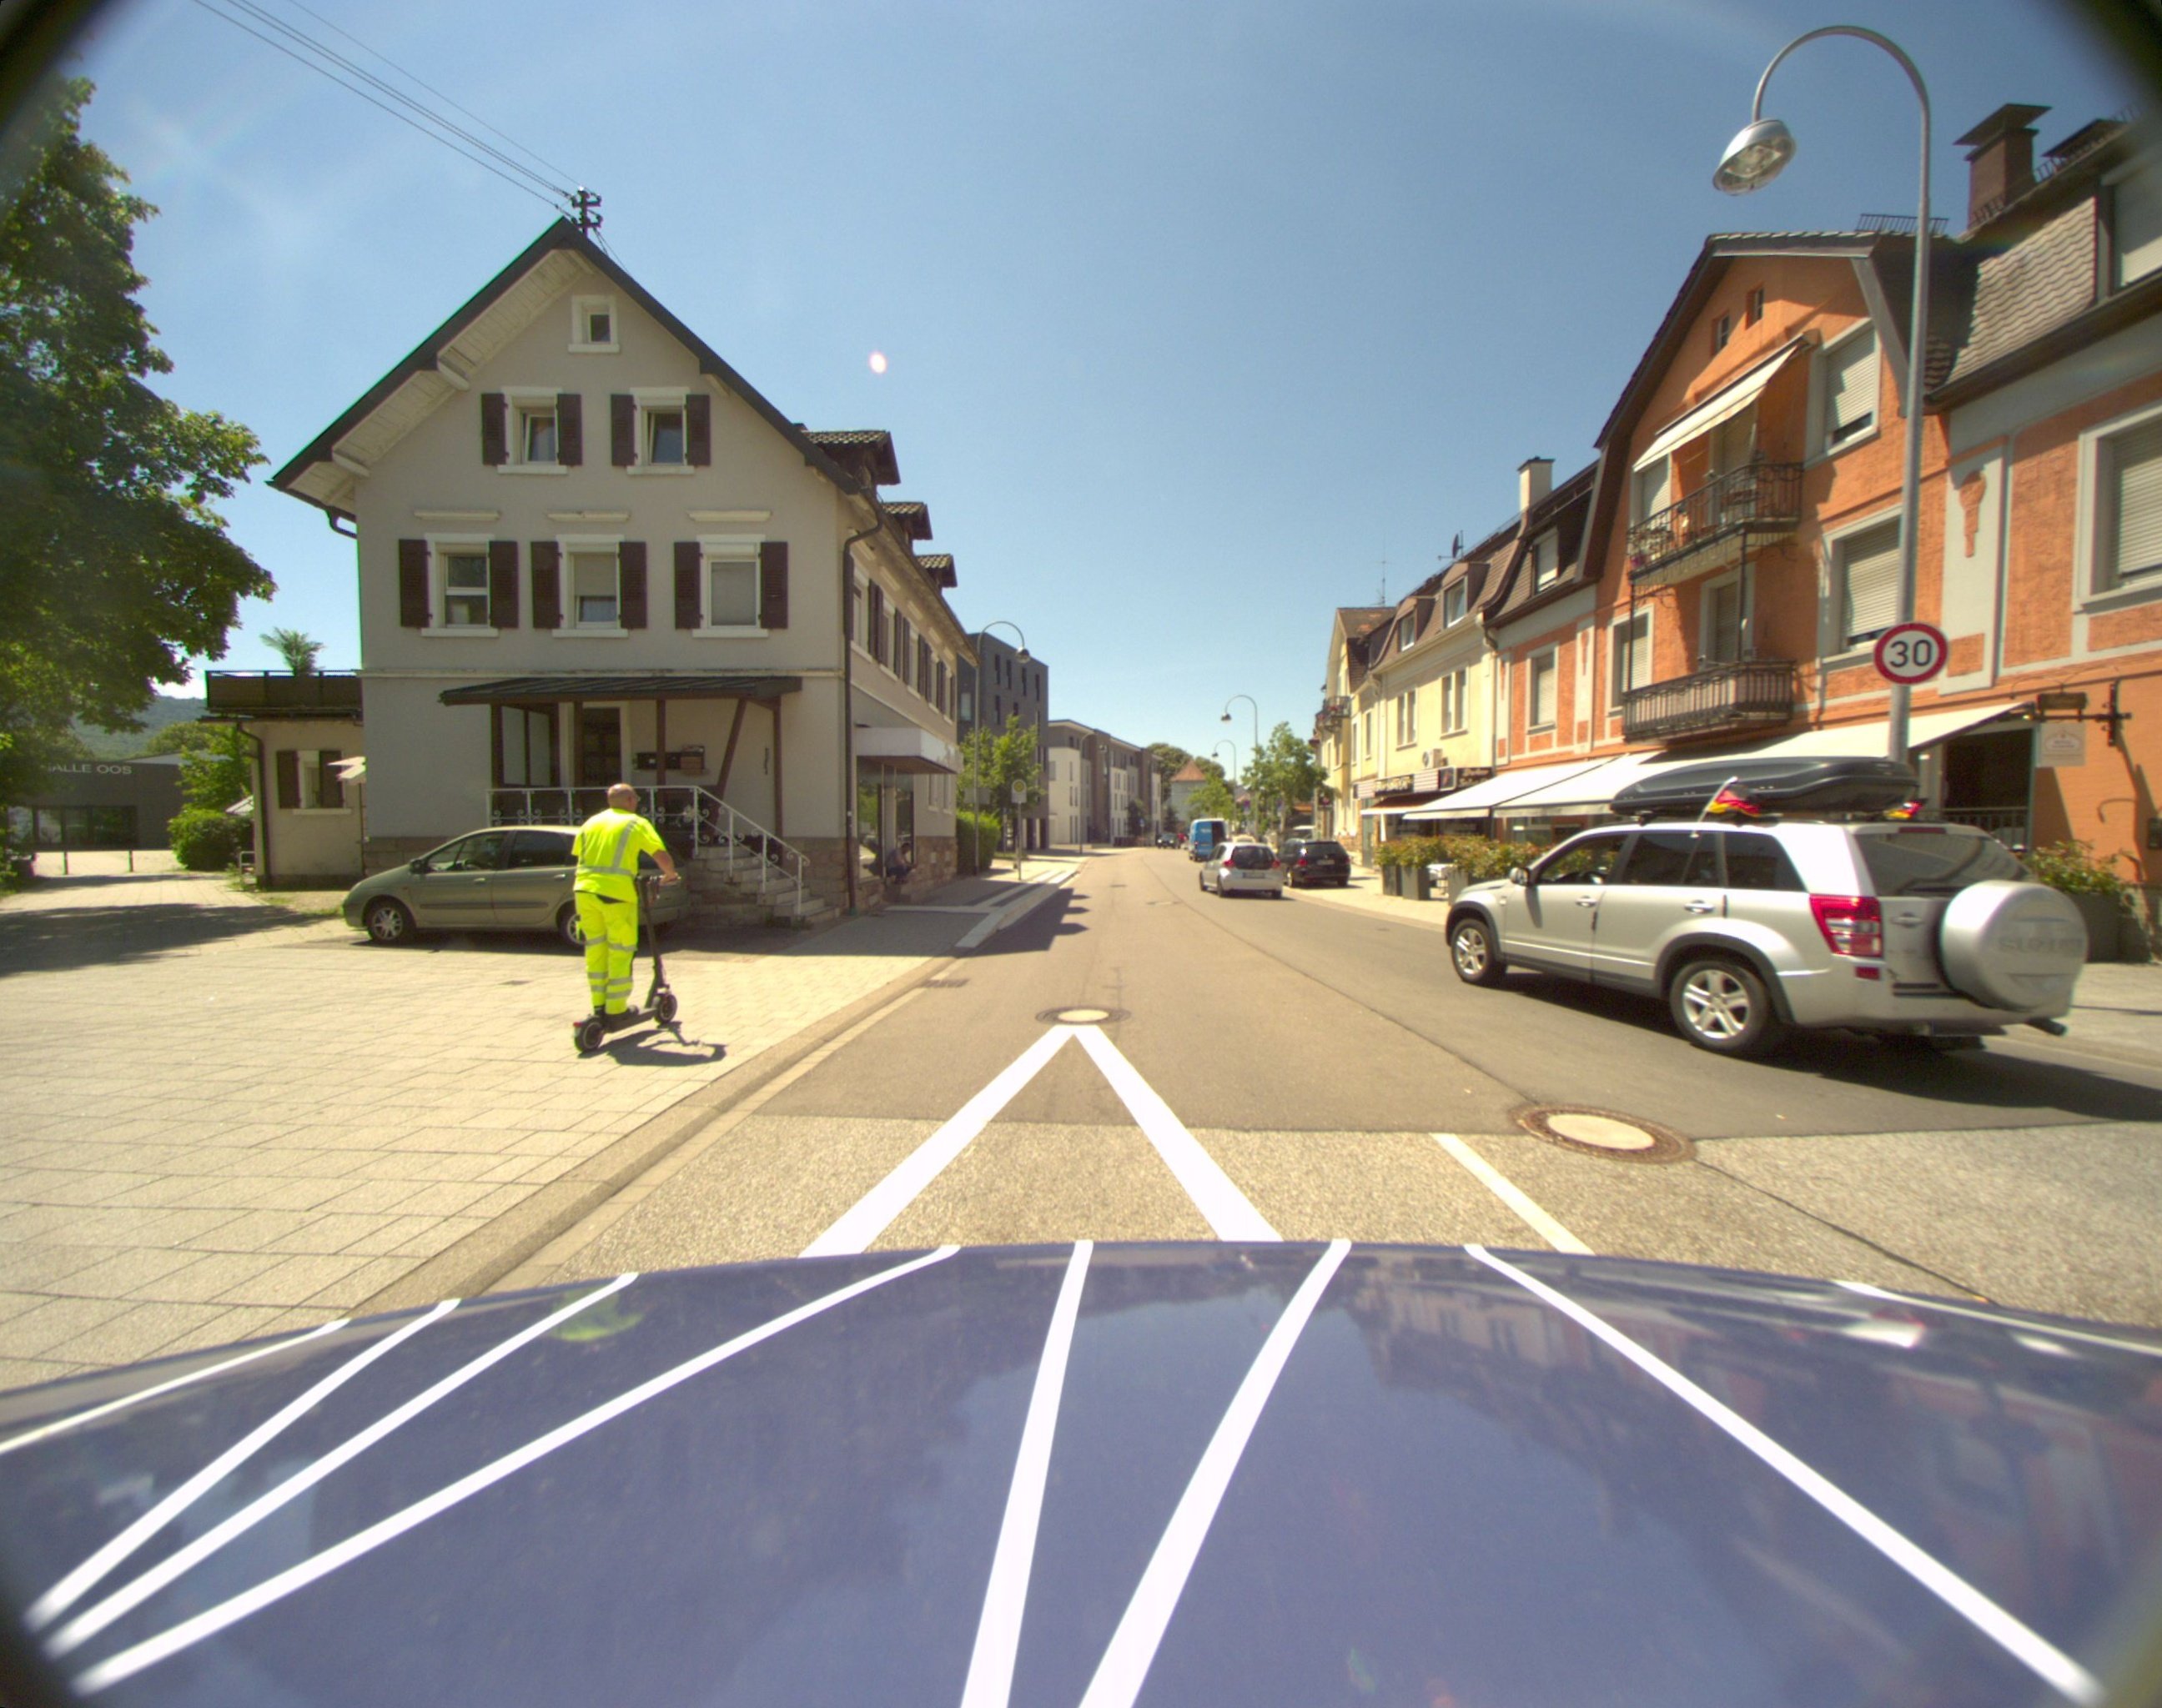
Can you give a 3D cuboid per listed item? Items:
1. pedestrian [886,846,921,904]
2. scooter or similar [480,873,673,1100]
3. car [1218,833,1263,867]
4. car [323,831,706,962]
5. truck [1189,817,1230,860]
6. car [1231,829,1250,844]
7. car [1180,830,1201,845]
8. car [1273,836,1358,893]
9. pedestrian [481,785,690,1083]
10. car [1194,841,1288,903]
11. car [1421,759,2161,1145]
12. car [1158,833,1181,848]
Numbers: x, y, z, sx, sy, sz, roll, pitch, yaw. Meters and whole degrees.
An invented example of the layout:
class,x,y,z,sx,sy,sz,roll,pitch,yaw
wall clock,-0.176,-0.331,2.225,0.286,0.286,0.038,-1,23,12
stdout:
class,x,y,z,sx,sy,sz,roll,pitch,yaw
pedestrian,-4.047,0.471,17.347,0.685,1.279,0.580,0,2,-2
scooter or similar,-3.549,0.860,5.485,0.527,1.365,1.346,0,2,-4
car,7.828,-0.221,37.516,1.681,1.537,3.594,-2,2,4
car,-7.627,0.521,10.509,3.996,1.587,1.795,1,1,2
truck,7.610,-0.933,45.214,1.960,2.357,4.337,-2,2,4
car,17.073,-1.903,81.192,1.680,1.537,3.597,-1,2,16
car,11.981,-1.782,82.923,1.680,1.537,3.597,-1,2,16
car,7.189,0.254,23.637,1.681,1.537,3.946,-2,2,4
pedestrian,-3.575,0.533,5.594,0.921,2.019,0.900,0,3,-4
car,4.294,0.424,20.954,1.682,1.450,3.592,1,2,-2
car,5.058,0.477,6.418,1.931,2.096,4.445,1,2,-7
car,9.957,-1.546,85.437,1.751,1.537,3.598,-1,2,20
